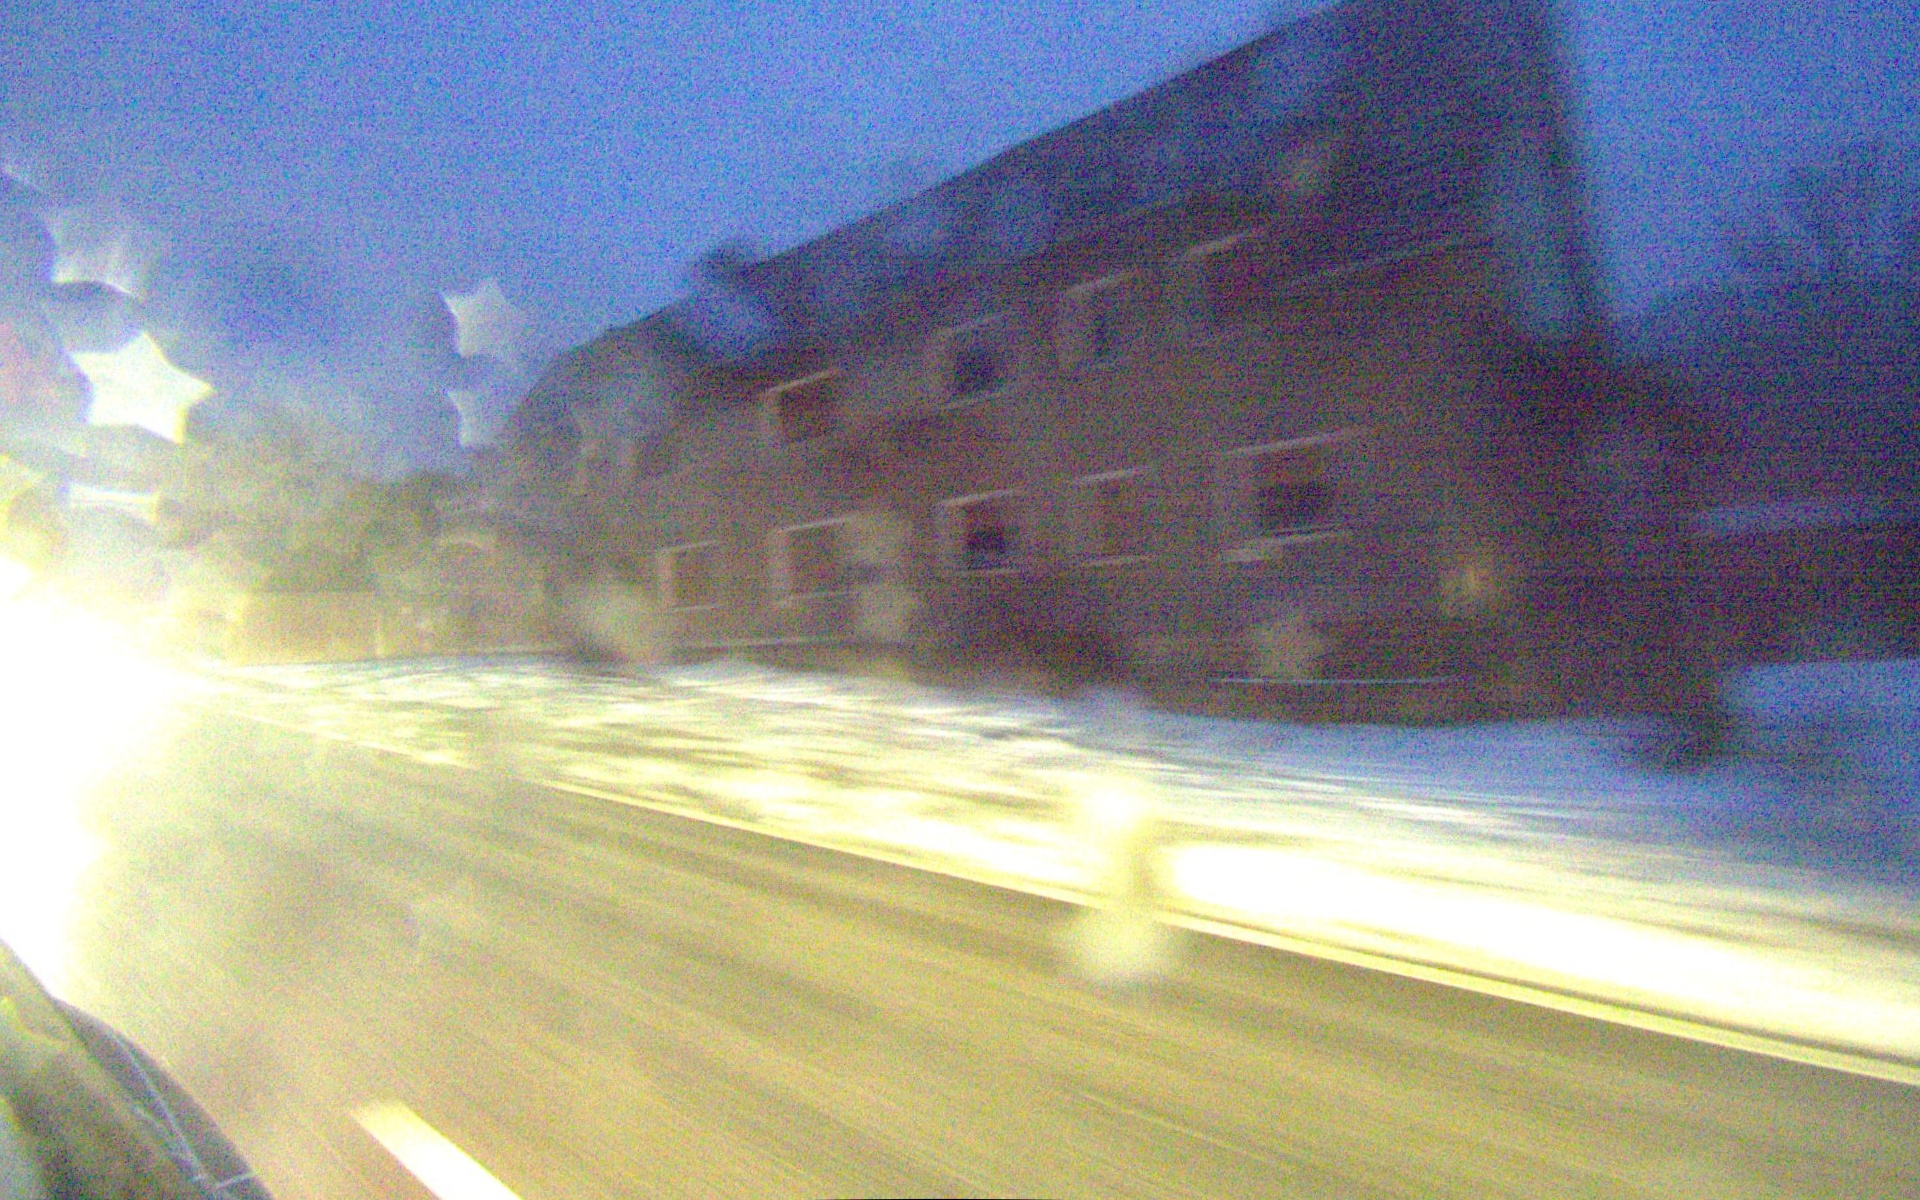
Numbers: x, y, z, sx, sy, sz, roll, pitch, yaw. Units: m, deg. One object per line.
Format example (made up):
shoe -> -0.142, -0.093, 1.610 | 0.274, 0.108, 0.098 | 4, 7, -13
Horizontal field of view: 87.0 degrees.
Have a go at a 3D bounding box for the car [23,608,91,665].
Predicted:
car -> -36.894, 1.426, 41.445 | 1.895, 2.072, 4.895 | -3, 2, -40

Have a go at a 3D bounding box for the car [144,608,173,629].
car -> -74.985, 1.733, 94.717 | 1.951, 1.791, 4.009 | -3, 2, -36
